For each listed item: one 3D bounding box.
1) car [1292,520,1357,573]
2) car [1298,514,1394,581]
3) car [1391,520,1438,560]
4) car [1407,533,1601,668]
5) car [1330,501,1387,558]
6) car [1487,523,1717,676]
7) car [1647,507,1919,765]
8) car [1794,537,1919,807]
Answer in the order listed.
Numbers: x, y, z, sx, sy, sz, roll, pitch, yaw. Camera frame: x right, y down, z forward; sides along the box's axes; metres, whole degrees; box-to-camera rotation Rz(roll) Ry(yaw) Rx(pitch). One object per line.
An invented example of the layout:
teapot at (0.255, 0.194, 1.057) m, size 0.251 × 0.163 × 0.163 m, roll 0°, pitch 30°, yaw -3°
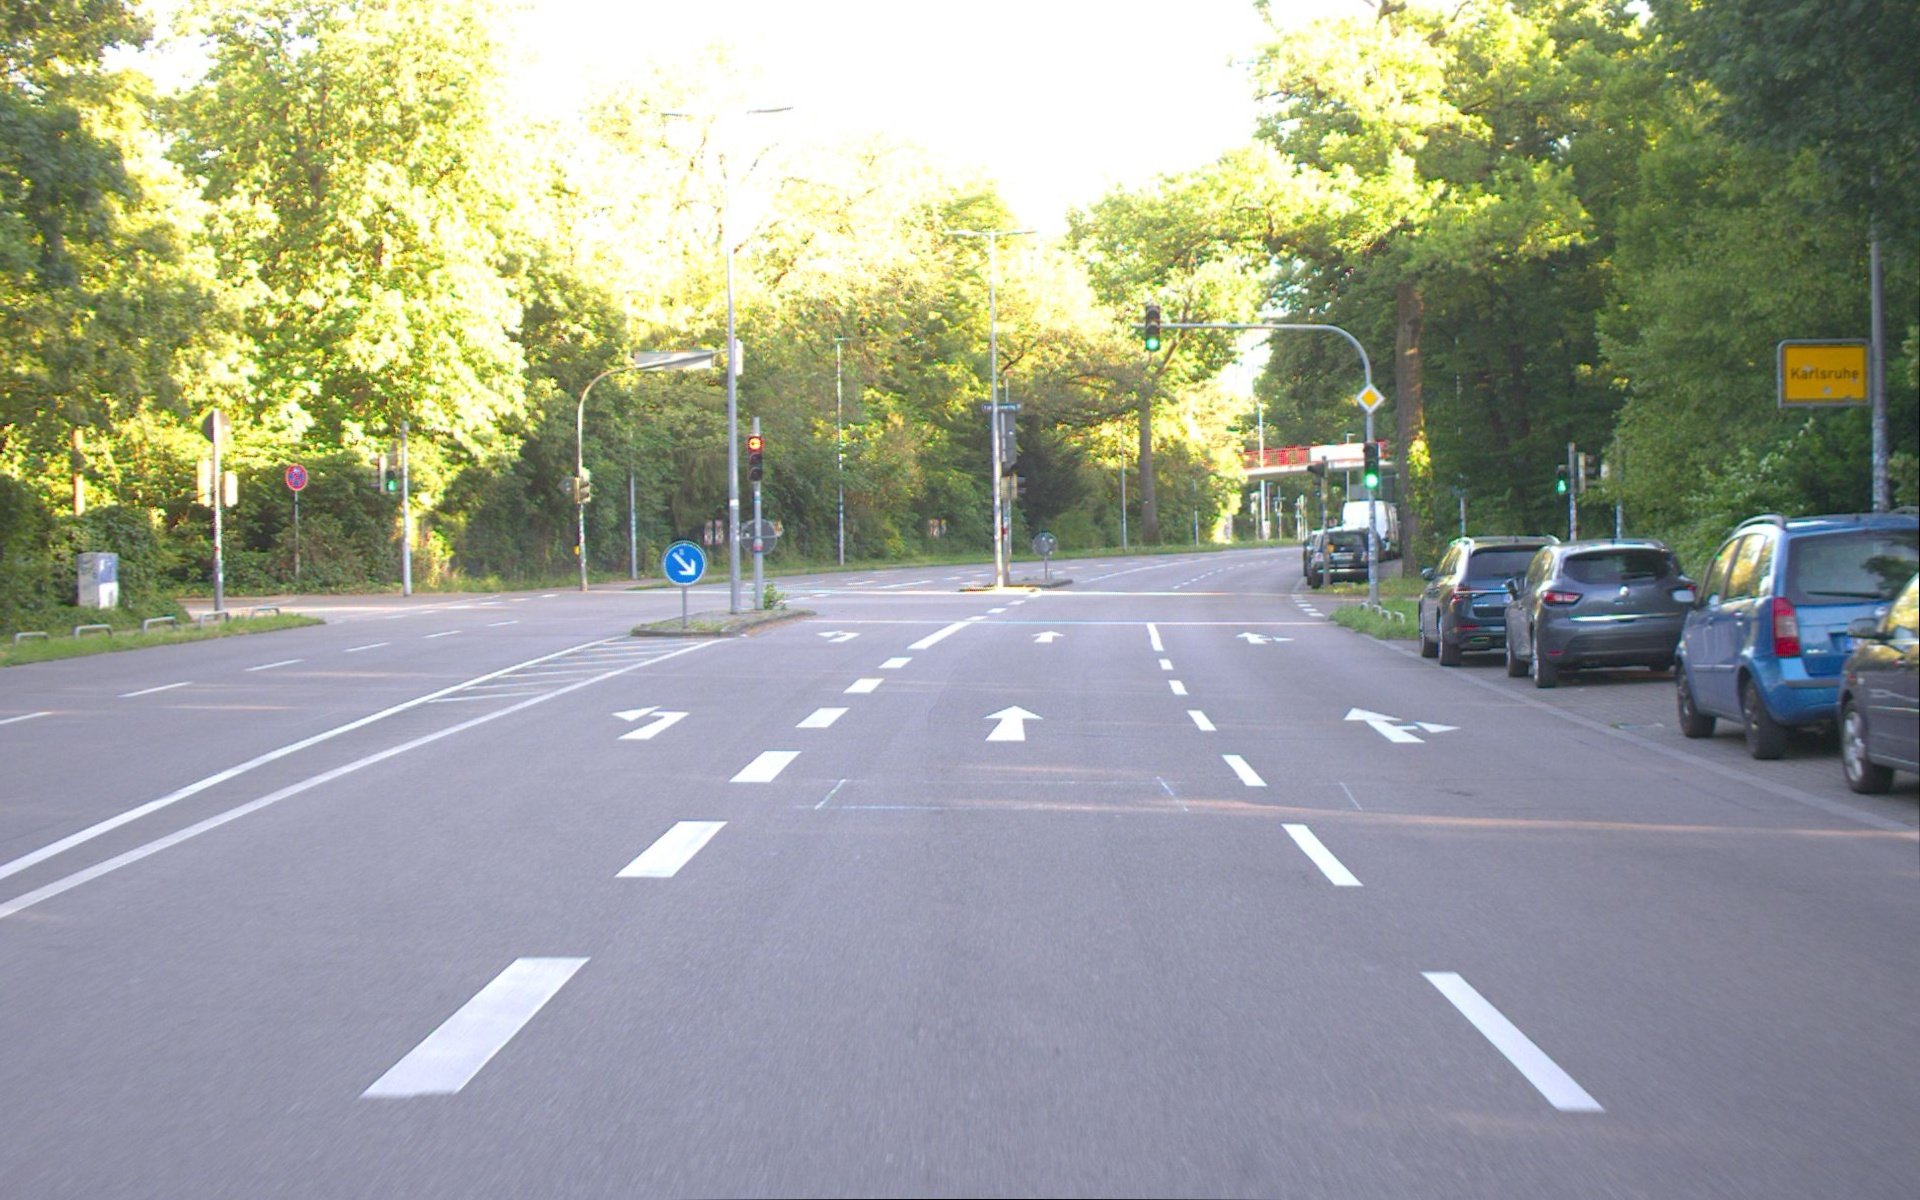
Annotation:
car at (11.670, -1.728, 110.157) m, size 1.994 × 1.612 × 3.999 m, roll -1°, pitch 1°, yaw 6°
car at (9.863, -1.360, 88.043) m, size 1.993 × 1.612 × 4.000 m, roll -2°, pitch 1°, yaw 1°
car at (22.311, -2.946, 168.839) m, size 1.994 × 1.897 × 4.000 m, roll 0°, pitch 1°, yaw 3°
car at (6.433, -0.037, 41.031) m, size 1.728 × 1.456 × 4.167 m, roll -2°, pitch 1°, yaw 2°
car at (16.578, -2.929, 143.103) m, size 2.308 × 2.328 × 4.559 m, roll 0°, pitch 1°, yaw 6°
car at (6.568, -0.049, 35.529) m, size 1.728 × 1.485 × 4.090 m, roll 0°, pitch 1°, yaw 2°
car at (6.206, 0.198, 24.812) m, size 1.728 × 1.698 × 4.090 m, roll 0°, pitch 1°, yaw 1°
car at (6.028, 0.369, 19.431) m, size 1.650 × 1.436 × 4.113 m, roll -1°, pitch 1°, yaw 1°
